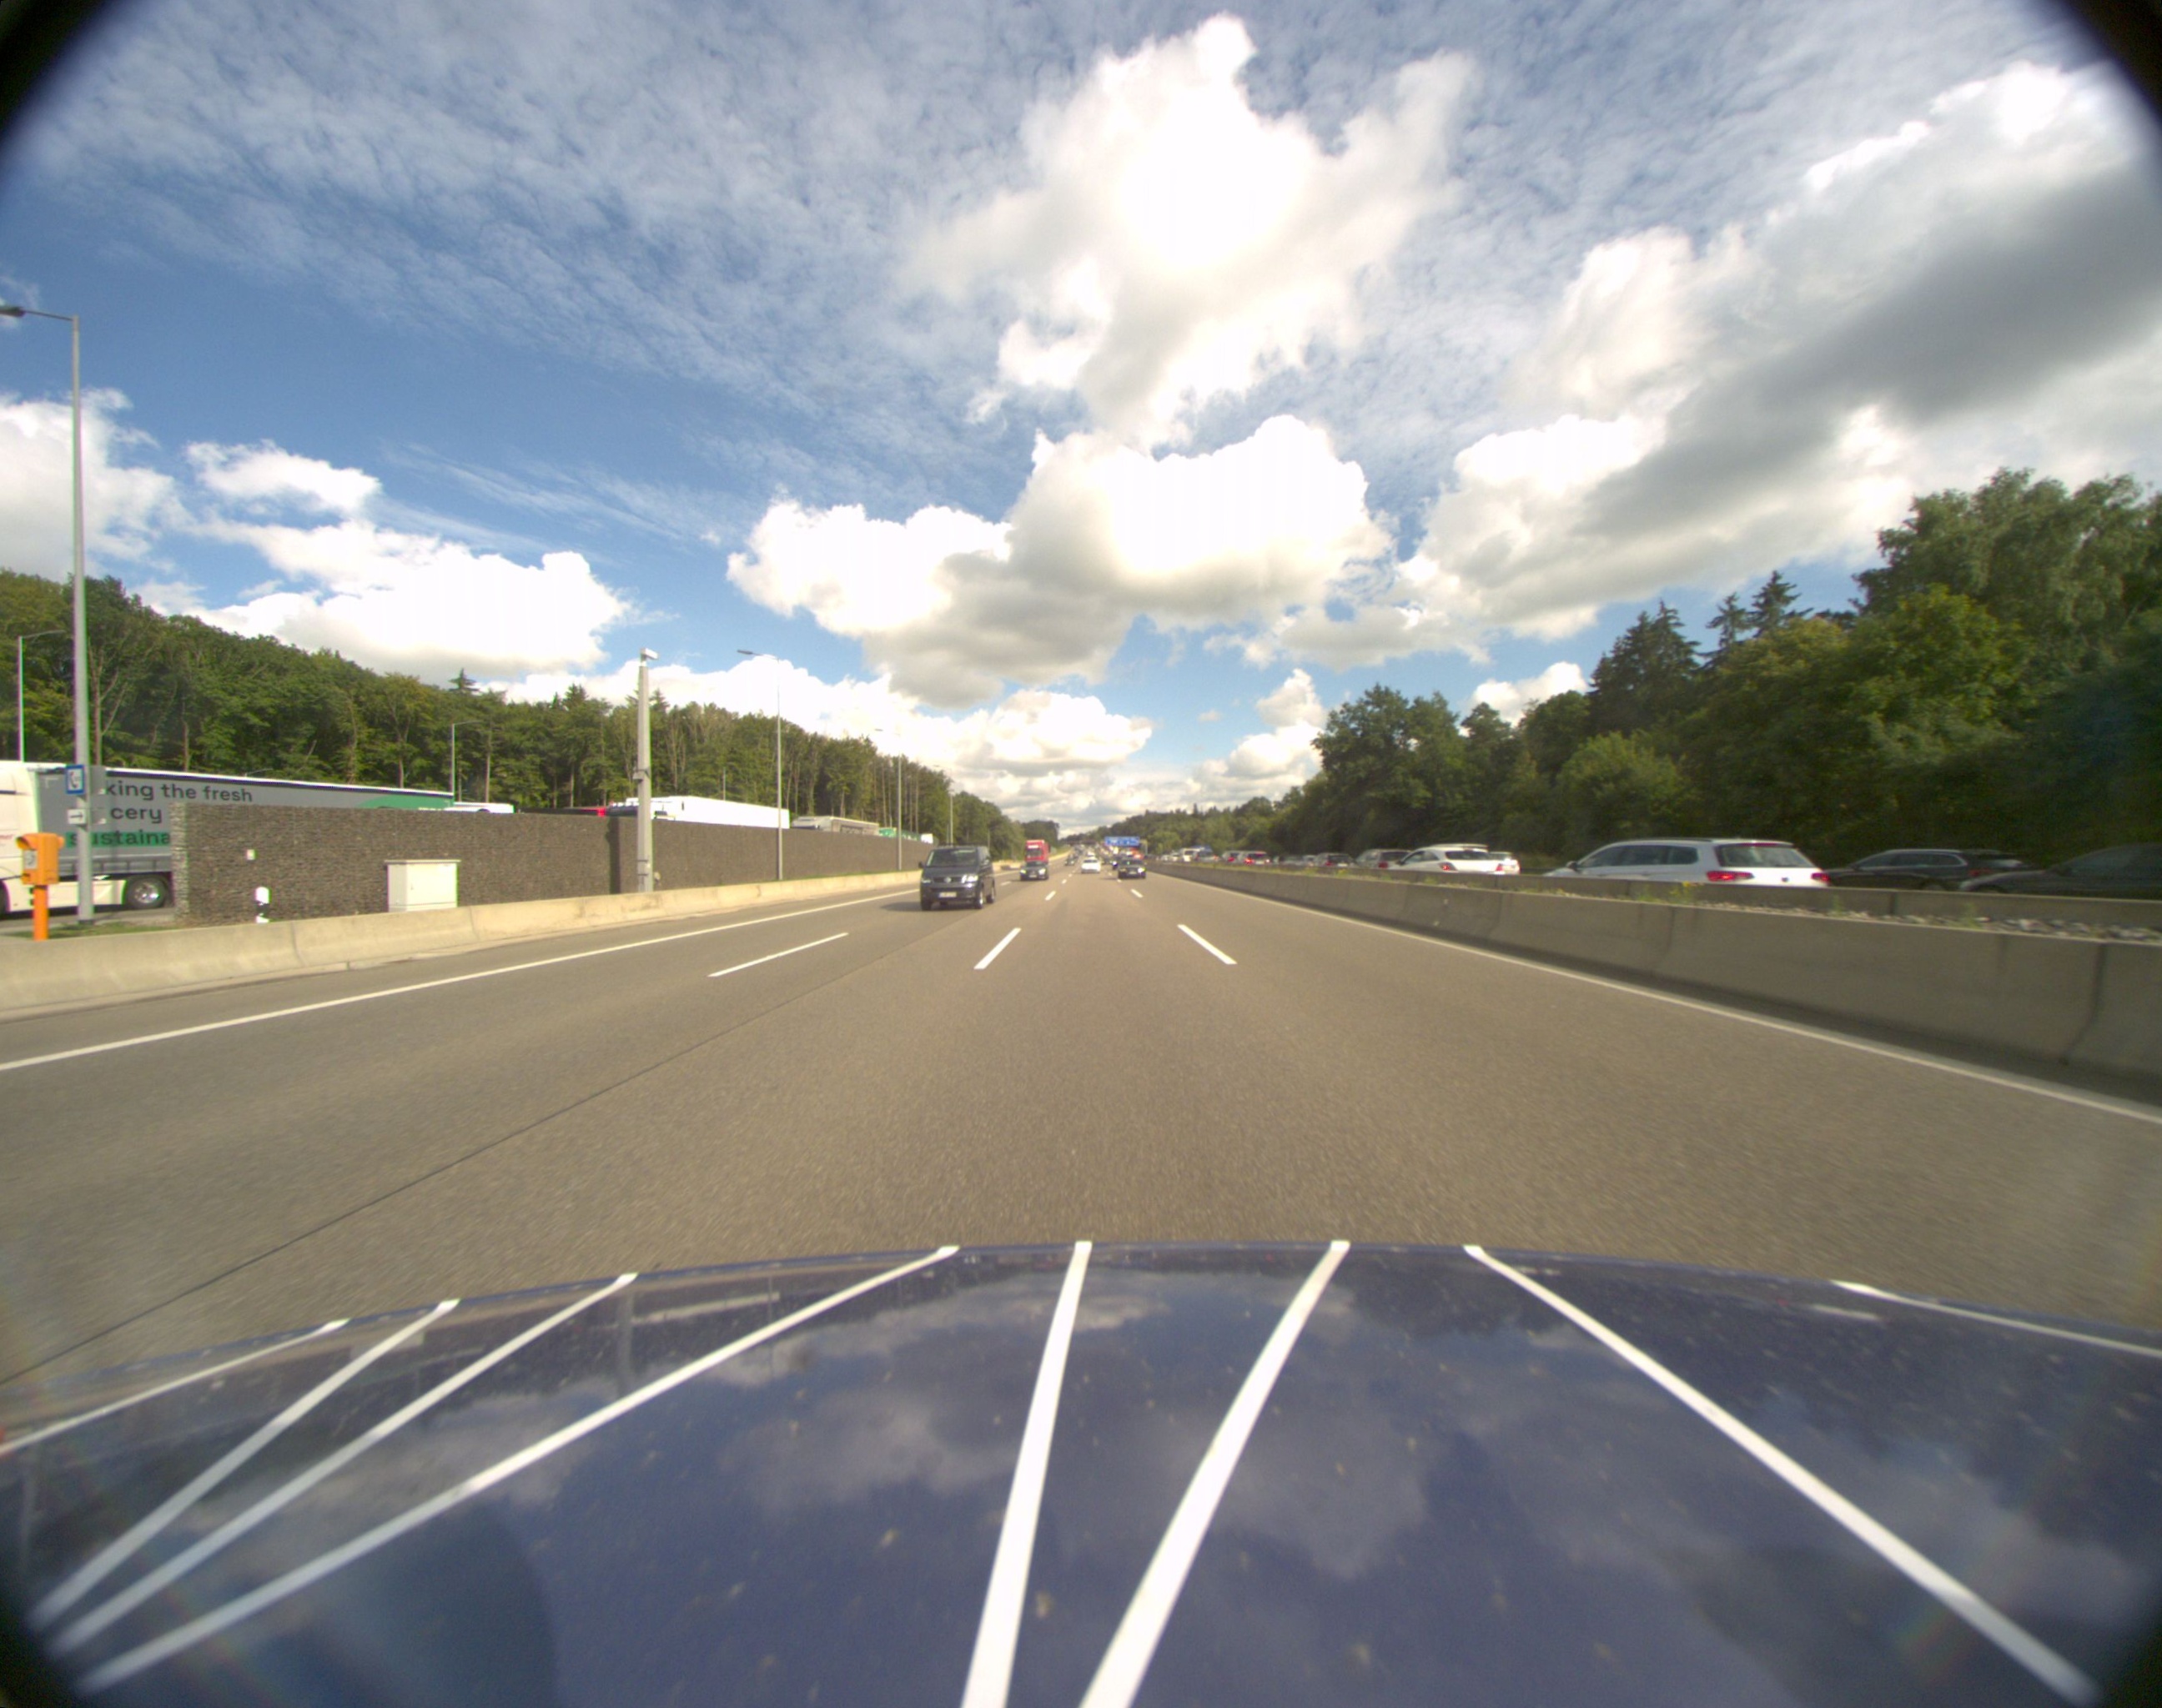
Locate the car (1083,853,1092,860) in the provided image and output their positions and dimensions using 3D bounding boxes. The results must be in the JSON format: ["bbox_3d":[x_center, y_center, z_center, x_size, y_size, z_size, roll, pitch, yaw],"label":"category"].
[{"bbox_3d":[1.637,0.631,182.780,2.153,1.540,4.677,0,0,1],"label":"car"}]

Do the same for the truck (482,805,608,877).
[{"bbox_3d":[-32.288,-0.764,46.147,2.982,4.001,6.254,-2,1,0],"label":"truck"}]

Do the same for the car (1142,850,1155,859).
[{"bbox_3d":[11.448,0.052,128.936,1.998,1.543,4.000,0,0,1],"label":"car"}]

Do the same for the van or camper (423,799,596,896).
[{"bbox_3d":[-20.506,-0.211,27.601,2.393,3.179,4.744,-1,0,5],"label":"van or camper"}]

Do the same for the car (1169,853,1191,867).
[{"bbox_3d":[11.092,0.645,85.696,1.998,1.543,4.000,0,0,1],"label":"car"}]

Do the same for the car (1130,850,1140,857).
[{"bbox_3d":[11.965,-0.126,168.713,1.998,1.543,4.000,0,0,1],"label":"car"}]

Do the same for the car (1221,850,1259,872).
[{"bbox_3d":[11.772,0.490,56.400,1.998,1.543,4.000,0,0,1],"label":"car"}]

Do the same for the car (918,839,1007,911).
[{"bbox_3d":[-3.799,0.624,25.252,1.853,2.097,4.933,-2,0,3],"label":"car"}]

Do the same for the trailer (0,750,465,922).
[{"bbox_3d":[-27.767,-0.479,26.414,2.880,4.480,12.997,0,0,-4],"label":"trailer"}]

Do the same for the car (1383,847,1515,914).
[{"bbox_3d":[9.691,0.633,20.362,1.665,1.608,4.000,0,0,1],"label":"car"}]

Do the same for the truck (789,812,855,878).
[{"bbox_3d":[-20.330,-0.705,60.127,2.661,4.896,7.261,0,0,0],"label":"truck"}]

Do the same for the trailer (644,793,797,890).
[{"bbox_3d":[-20.660,-0.624,44.955,2.661,4.896,13.112,0,0,0],"label":"trailer"}]

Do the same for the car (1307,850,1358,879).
[{"bbox_3d":[14.293,0.565,43.323,1.635,1.543,4.000,0,0,1],"label":"car"}]

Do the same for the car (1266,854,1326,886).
[{"bbox_3d":[10.910,0.760,38.885,1.998,1.543,4.000,0,0,1],"label":"car"}]

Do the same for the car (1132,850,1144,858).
[{"bbox_3d":[10.993,0.012,146.537,1.998,1.543,4.000,0,0,1],"label":"car"}]

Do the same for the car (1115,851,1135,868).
[{"bbox_3d":[5.022,0.612,86.527,2.152,1.800,5.099,-2,0,3],"label":"car"}]

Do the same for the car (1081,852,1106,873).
[{"bbox_3d":[1.156,0.793,70.804,2.153,1.800,5.099,-2,0,1],"label":"car"}]

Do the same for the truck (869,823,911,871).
[{"bbox_3d":[-20.220,-0.731,80.752,2.661,4.896,6.969,0,0,0],"label":"truck"}]

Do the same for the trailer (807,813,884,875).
[{"bbox_3d":[-20.267,-0.766,66.449,2.661,4.896,12.743,0,0,0],"label":"trailer"}]

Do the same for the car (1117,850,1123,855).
[{"bbox_3d":[13.198,-0.572,256.704,1.998,1.543,4.000,0,0,1],"label":"car"}]

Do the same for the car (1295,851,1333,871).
[{"bbox_3d":[19.241,0.568,62.922,1.998,1.543,4.000,0,0,1],"label":"car"}]

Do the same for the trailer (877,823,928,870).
[{"bbox_3d":[-20.214,-0.795,87.046,2.661,4.896,12.734,0,0,0],"label":"trailer"}]

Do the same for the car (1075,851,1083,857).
[{"bbox_3d":[-0.532,0.034,208.165,2.153,1.540,4.677,-2,0,1],"label":"car"}]

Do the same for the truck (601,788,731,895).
[{"bbox_3d":[-20.700,-0.560,38.431,2.661,4.896,6.985,0,0,0],"label":"truck"}]

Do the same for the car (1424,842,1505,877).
[{"bbox_3d":[18.444,0.257,36.754,1.988,1.608,4.000,0,0,1],"label":"car"}]

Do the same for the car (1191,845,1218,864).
[{"bbox_3d":[10.707,0.028,66.179,1.698,1.543,4.000,0,0,1],"label":"car"}]

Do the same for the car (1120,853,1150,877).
[{"bbox_3d":[3.613,0.717,51.609,1.733,1.500,4.728,-2,0,1],"label":"car"}]

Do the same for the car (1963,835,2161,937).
[{"bbox_3d":[18.109,0.505,12.472,1.998,1.608,4.550,0,0,1],"label":"car"}]

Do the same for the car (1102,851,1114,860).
[{"bbox_3d":[4.898,0.269,138.262,2.153,1.540,4.677,0,0,1],"label":"car"}]

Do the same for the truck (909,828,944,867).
[{"bbox_3d":[-19.861,-0.802,98.157,2.660,4.896,7.385,0,0,2],"label":"truck"}]

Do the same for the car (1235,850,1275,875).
[{"bbox_3d":[10.809,0.507,47.454,1.642,1.543,4.000,0,0,1],"label":"car"}]

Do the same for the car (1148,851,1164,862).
[{"bbox_3d":[11.210,0.403,113.680,1.998,1.543,4.000,0,0,1],"label":"car"}]

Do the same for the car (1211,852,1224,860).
[{"bbox_3d":[27.207,0.466,151.505,1.998,1.543,4.205,0,0,1],"label":"car"}]

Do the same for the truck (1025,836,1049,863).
[{"bbox_3d":[-6.278,-0.671,109.798,3.018,3.662,7.560,-1,0,-1],"label":"truck"}]

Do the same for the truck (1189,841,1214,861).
[{"bbox_3d":[15.169,-0.357,95.779,2.368,2.444,5.239,0,0,1],"label":"truck"}]

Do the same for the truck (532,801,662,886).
[{"bbox_3d":[-27.679,-0.562,43.926,2.878,4.480,7.036,-1,0,1],"label":"truck"}]

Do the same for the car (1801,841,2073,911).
[{"bbox_3d":[21.965,0.501,19.862,1.998,1.608,4.550,0,0,1],"label":"car"}]

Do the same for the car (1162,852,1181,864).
[{"bbox_3d":[11.658,0.529,98.018,1.998,1.543,4.000,0,0,1],"label":"car"}]

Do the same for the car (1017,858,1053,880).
[{"bbox_3d":[-3.239,1.013,54.148,2.153,1.426,5.099,0,0,1],"label":"car"}]

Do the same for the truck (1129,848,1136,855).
[{"bbox_3d":[17.056,-0.987,253.287,1.998,2.306,4.609,0,0,1],"label":"truck"}]

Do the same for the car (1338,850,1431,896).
[{"bbox_3d":[10.822,0.625,27.396,1.800,1.543,4.000,0,0,1],"label":"car"}]

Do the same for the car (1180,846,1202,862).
[{"bbox_3d":[10.946,-0.023,75.711,1.634,1.543,4.000,0,0,1],"label":"car"}]

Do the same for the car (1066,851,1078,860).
[{"bbox_3d":[-1.694,0.278,147.060,2.153,1.540,4.677,-2,0,1],"label":"car"}]

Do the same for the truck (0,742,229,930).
[{"bbox_3d":[-27.322,-0.428,19.638,2.880,4.480,7.173,0,0,-5],"label":"truck"}]

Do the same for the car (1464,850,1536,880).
[{"bbox_3d":[22.806,0.589,41.491,1.780,1.543,4.000,0,0,1],"label":"car"}]

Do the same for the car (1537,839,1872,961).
[{"bbox_3d":[9.588,0.608,12.304,1.746,1.608,4.550,0,0,1],"label":"car"}]
